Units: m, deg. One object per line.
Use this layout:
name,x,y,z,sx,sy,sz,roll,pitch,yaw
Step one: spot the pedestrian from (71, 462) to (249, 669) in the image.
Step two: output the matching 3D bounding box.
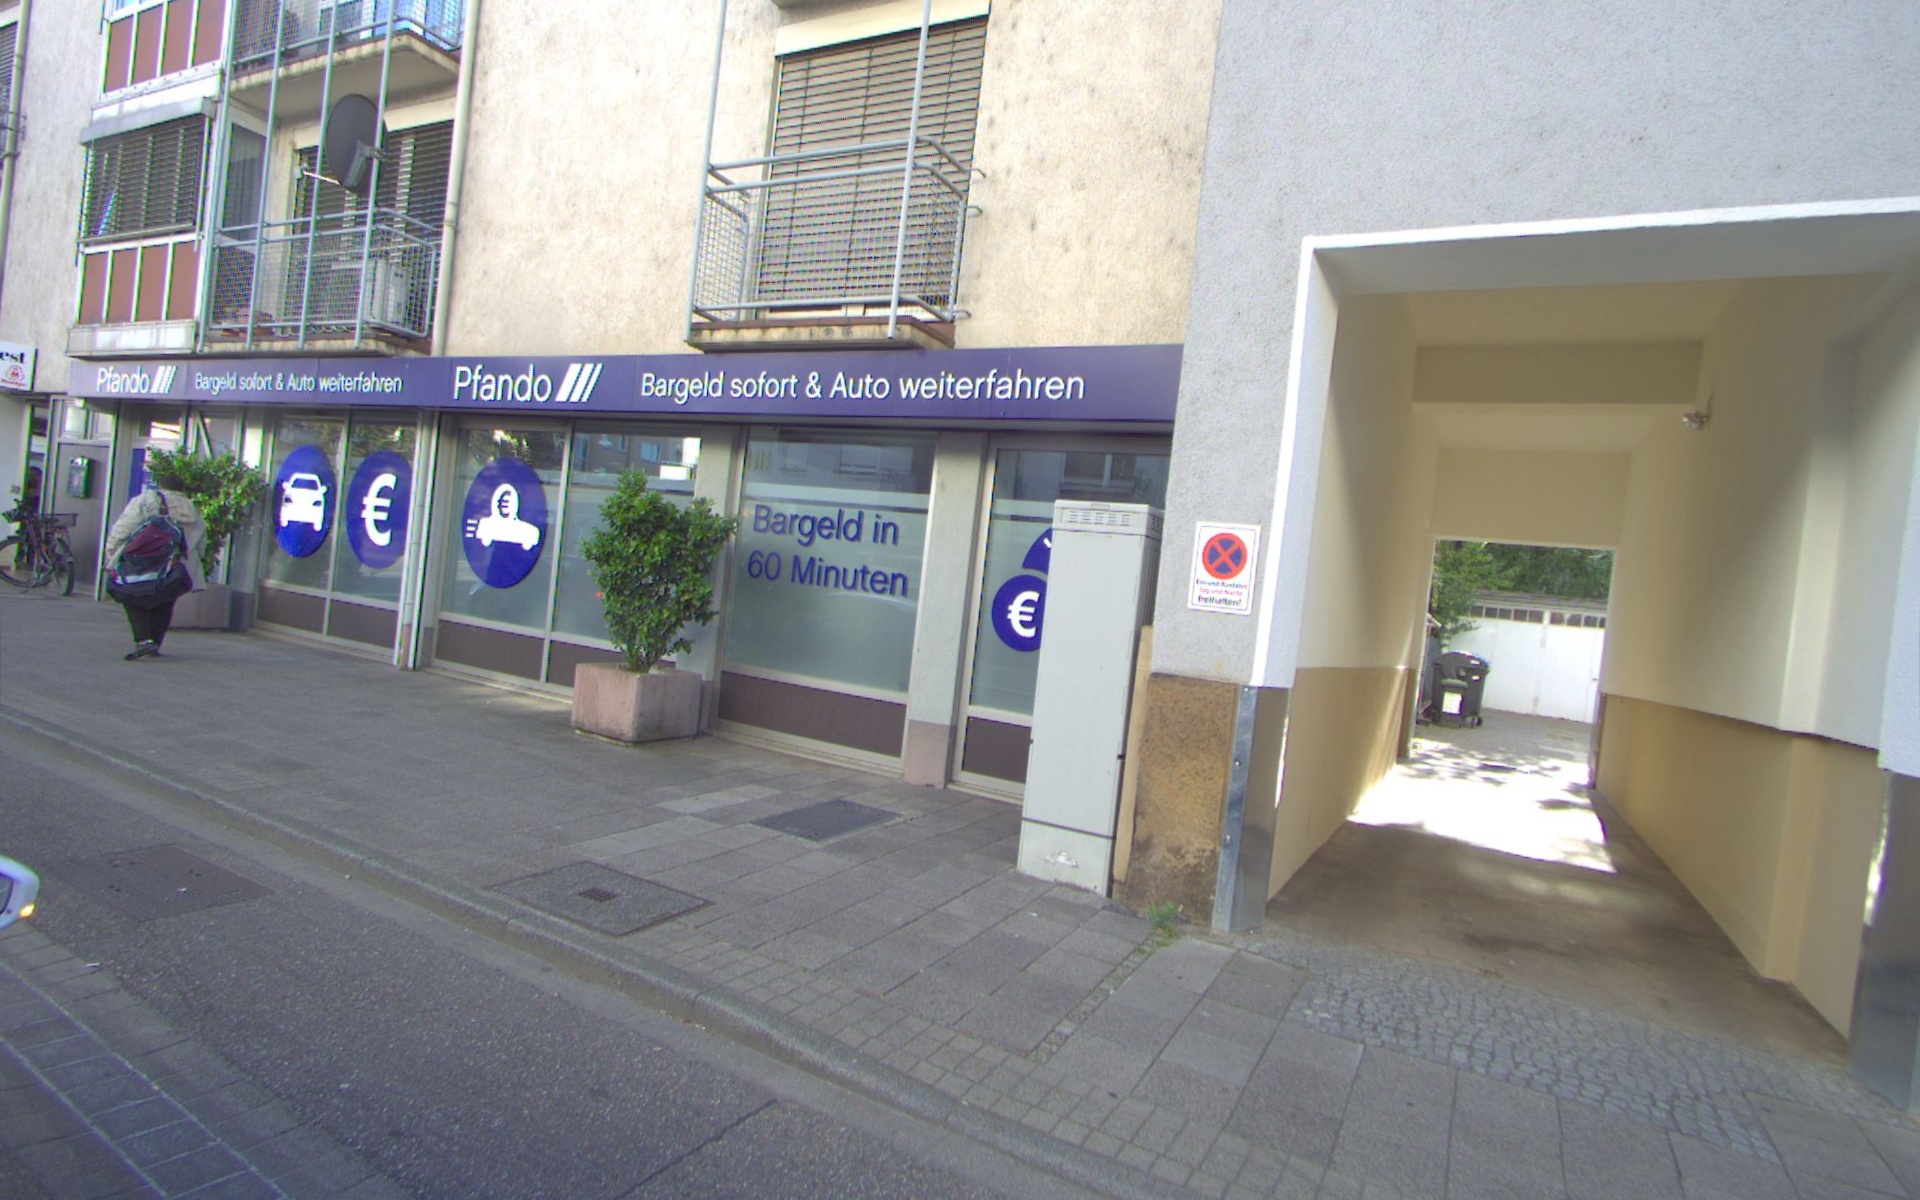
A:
pedestrian,-6.763,-0.277,8.519,0.738,1.611,0.827,6,-1,31

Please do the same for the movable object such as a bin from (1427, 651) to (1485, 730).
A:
movable object such as a bin,9.831,1.772,19.926,0.873,1.411,0.758,7,2,28

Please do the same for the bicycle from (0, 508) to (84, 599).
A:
bicycle,-11.915,-0.616,12.841,1.678,1.010,0.543,6,-1,32

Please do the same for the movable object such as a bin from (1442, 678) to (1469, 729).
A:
movable object such as a bin,9.526,1.989,19.350,0.365,0.920,0.420,7,2,28
